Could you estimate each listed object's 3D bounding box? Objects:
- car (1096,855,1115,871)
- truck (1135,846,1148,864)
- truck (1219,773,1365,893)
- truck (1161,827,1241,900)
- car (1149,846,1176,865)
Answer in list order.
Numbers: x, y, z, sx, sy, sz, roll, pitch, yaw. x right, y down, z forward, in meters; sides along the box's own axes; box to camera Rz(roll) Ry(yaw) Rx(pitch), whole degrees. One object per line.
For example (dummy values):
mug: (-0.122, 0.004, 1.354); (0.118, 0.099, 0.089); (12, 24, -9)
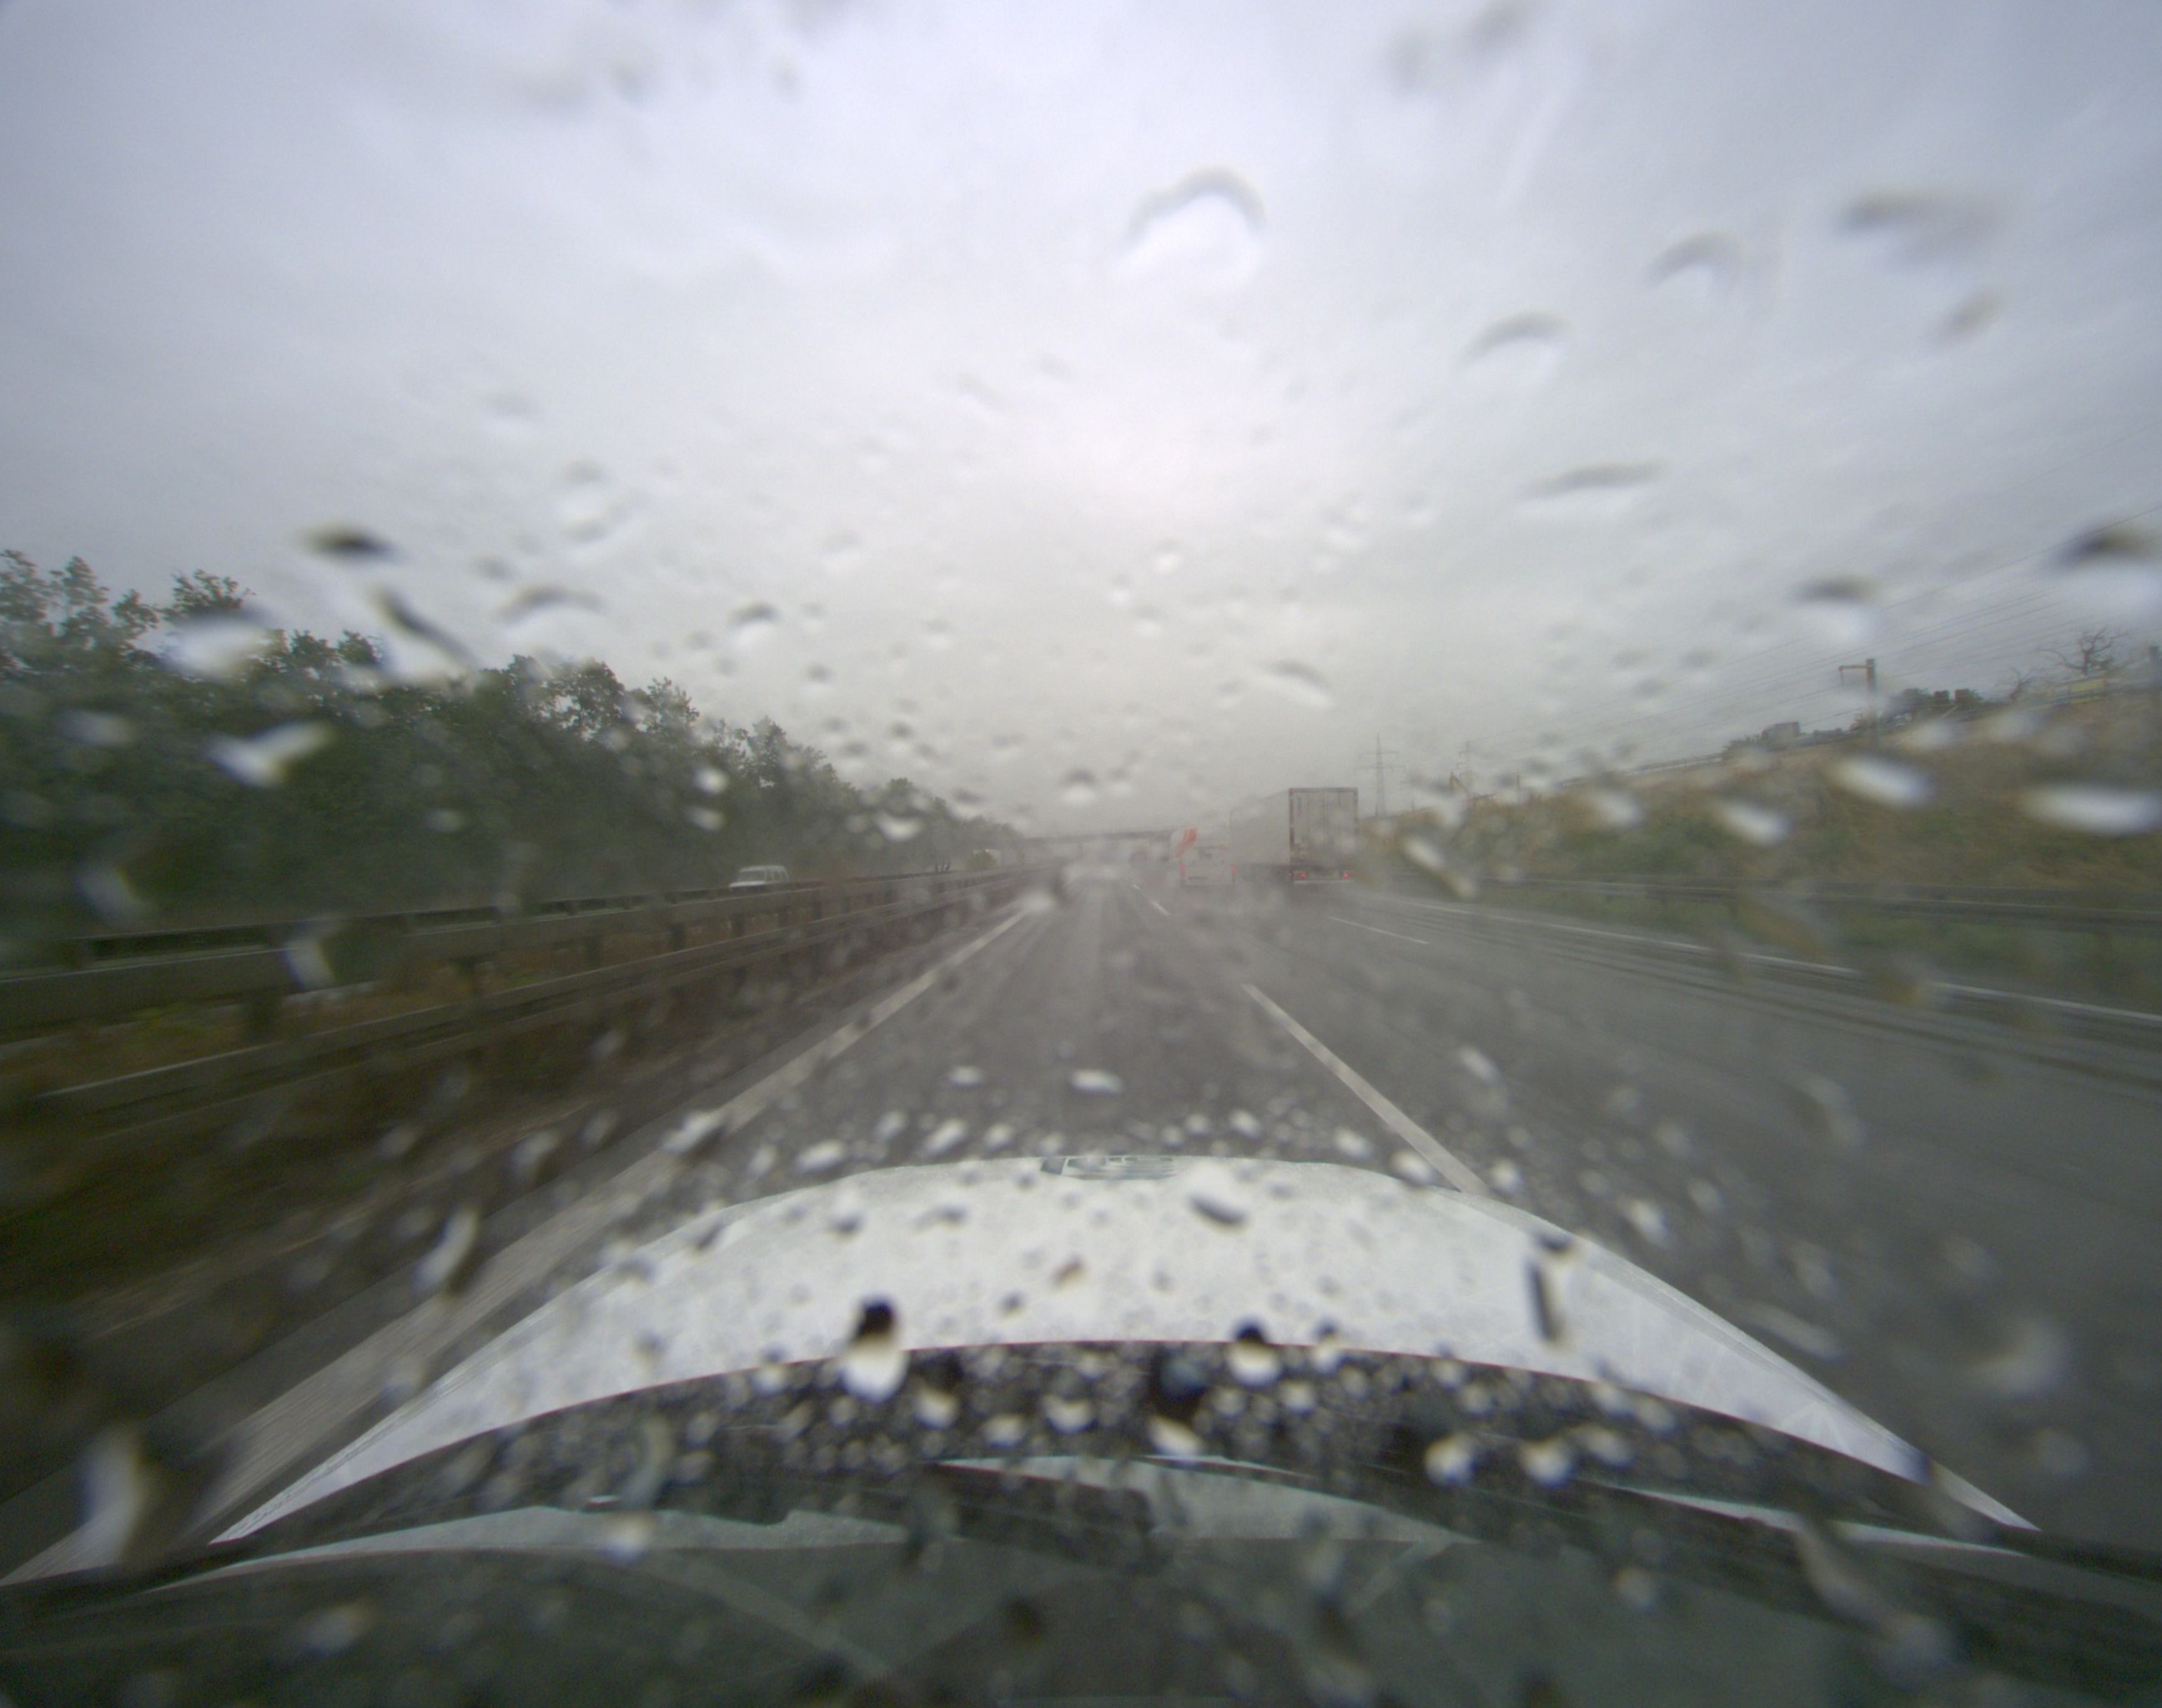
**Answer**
car: (2.227, 0.787, 74.167); (1.599, 1.338, 3.850); (0, 1, 1)
truck: (11.594, 0.180, 157.166); (2.102, 3.516, 5.247); (0, 1, 0)
truck: (9.475, -0.792, 39.323); (3.029, 4.588, 16.352); (0, 0, 1)
truck: (4.380, 0.277, 30.629); (2.410, 2.492, 5.563); (0, 1, 2)
car: (9.530, 0.144, 95.391); (2.778, 2.013, 4.995); (0, 1, 1)
